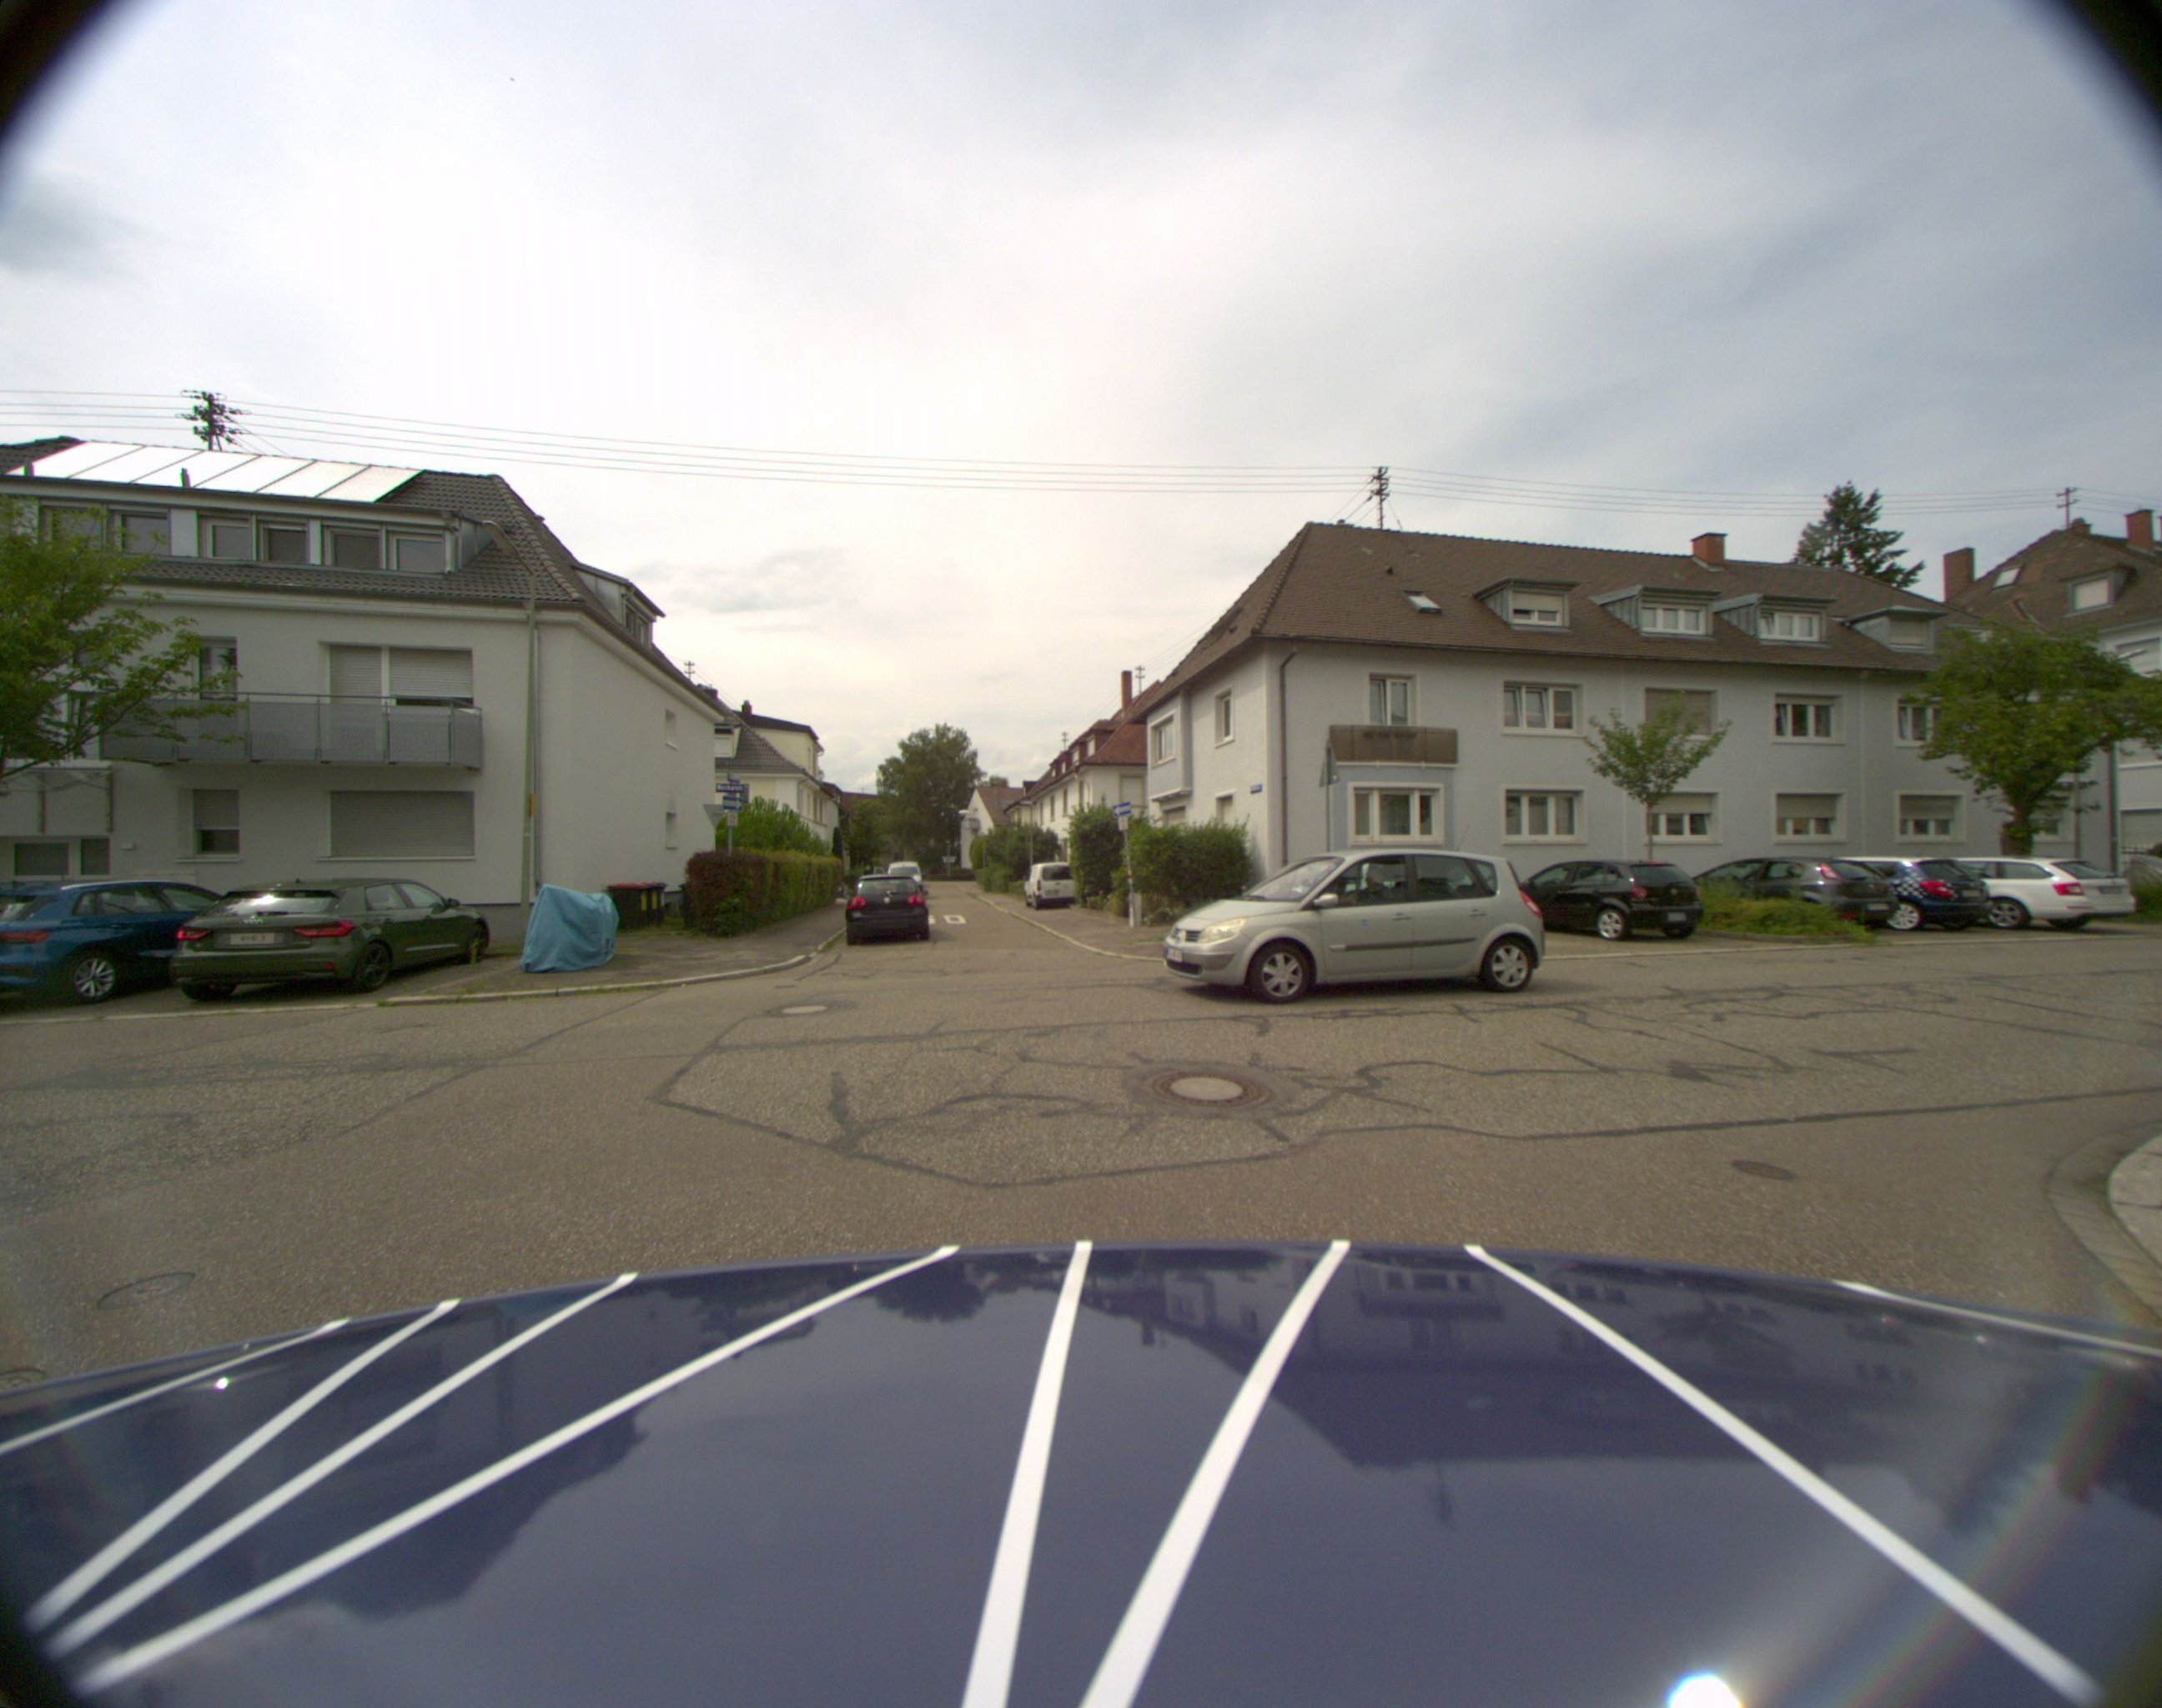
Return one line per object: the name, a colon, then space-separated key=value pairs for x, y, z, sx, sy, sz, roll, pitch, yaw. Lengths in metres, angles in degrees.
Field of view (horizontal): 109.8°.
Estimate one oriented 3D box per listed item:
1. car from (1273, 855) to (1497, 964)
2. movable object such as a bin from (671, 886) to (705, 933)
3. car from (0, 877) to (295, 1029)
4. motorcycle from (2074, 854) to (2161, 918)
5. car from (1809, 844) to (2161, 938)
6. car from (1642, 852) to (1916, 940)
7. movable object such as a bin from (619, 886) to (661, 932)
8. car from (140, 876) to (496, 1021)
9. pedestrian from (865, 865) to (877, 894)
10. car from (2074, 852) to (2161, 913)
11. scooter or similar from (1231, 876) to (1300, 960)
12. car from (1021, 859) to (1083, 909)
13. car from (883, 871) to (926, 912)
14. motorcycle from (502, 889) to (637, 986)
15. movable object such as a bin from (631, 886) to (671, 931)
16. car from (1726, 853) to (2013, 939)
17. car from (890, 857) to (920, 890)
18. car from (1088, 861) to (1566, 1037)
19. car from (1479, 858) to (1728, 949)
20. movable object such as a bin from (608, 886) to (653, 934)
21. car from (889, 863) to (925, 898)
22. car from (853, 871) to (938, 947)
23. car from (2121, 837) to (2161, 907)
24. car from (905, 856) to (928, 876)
car: x=5.289 y=0.952 z=13.838 sx=1.869 sy=1.622 sz=3.933 roll=3 pitch=-3 yaw=-12
movable object such as a bin: x=-8.759 y=1.227 z=16.934 sx=0.548 sy=1.002 sz=0.611 roll=-1 pitch=0 yaw=-15
car: x=-12.271 y=1.090 z=9.538 sx=1.559 sy=1.404 sz=3.524 roll=-1 pitch=2 yaw=-11
motorcycle: x=25.307 y=0.736 z=17.547 sx=1.032 sy=1.455 sz=2.706 roll=-1 pitch=0 yaw=-15
car: x=19.116 y=0.648 z=16.420 sx=1.893 sy=1.654 sz=4.624 roll=-1 pitch=2 yaw=-10
car: x=14.427 y=0.771 z=16.061 sx=1.713 sy=1.499 sz=3.995 roll=-1 pitch=2 yaw=-11
movable object such as a bin: x=-9.985 y=1.232 z=17.221 sx=0.700 sy=1.002 sz=0.520 roll=-1 pitch=0 yaw=-14
car: x=-9.921 y=1.099 z=10.364 sx=1.774 sy=1.358 sz=3.753 roll=-1 pitch=2 yaw=-16
pedestrian: x=-12.288 y=1.478 z=44.495 sx=0.560 sy=1.708 sz=0.613 roll=-1 pitch=0 yaw=-23
car: x=27.369 y=0.718 z=18.390 sx=1.774 sy=1.446 sz=3.631 roll=-1 pitch=2 yaw=-15
scooter or similar: x=3.013 y=1.020 z=12.515 sx=0.422 sy=1.236 sz=1.240 roll=-1 pitch=2 yaw=-24
car: x=-1.232 y=1.146 z=30.628 sx=1.706 sy=1.795 sz=3.810 roll=-2 pitch=0 yaw=-13
car: x=-7.460 y=1.530 z=32.080 sx=1.664 sy=1.508 sz=3.810 roll=-1 pitch=0 yaw=-13
motorcycle: x=-7.537 y=1.177 z=11.358 sx=0.940 sy=1.203 sz=2.198 roll=-1 pitch=0 yaw=-13
movable object such as a bin: x=-10.082 y=1.268 z=17.823 sx=0.700 sy=1.002 sz=0.520 roll=-1 pitch=0 yaw=-14
car: x=16.714 y=0.792 z=16.441 sx=1.713 sy=1.499 sz=3.995 roll=-1 pitch=2 yaw=-11
car: x=-10.639 y=1.150 z=45.831 sx=1.664 sy=1.892 sz=3.810 roll=-1 pitch=0 yaw=-13
car: x=2.636 y=0.901 z=8.491 sx=4.837 sy=1.595 sz=1.788 roll=0 pitch=0 yaw=-12
car: x=10.058 y=0.853 z=15.057 sx=1.713 sy=1.414 sz=3.995 roll=-1 pitch=2 yaw=-11
movable object such as a bin: x=-9.880 y=1.220 z=16.682 sx=0.700 sy=1.002 sz=0.520 roll=-1 pitch=0 yaw=-14
car: x=-9.564 y=1.421 z=41.712 sx=1.807 sy=1.784 sz=3.810 roll=-1 pitch=0 yaw=-13
car: x=-4.288 y=1.152 z=17.266 sx=1.664 sy=1.435 sz=3.809 roll=-1 pitch=0 yaw=-16
car: x=29.867 y=0.519 z=18.785 sx=1.793 sy=1.847 sz=4.535 roll=0 pitch=2 yaw=-9
car: x=-15.515 y=1.071 z=71.492 sx=1.912 sy=1.724 sz=3.762 roll=-1 pitch=2 yaw=-14
